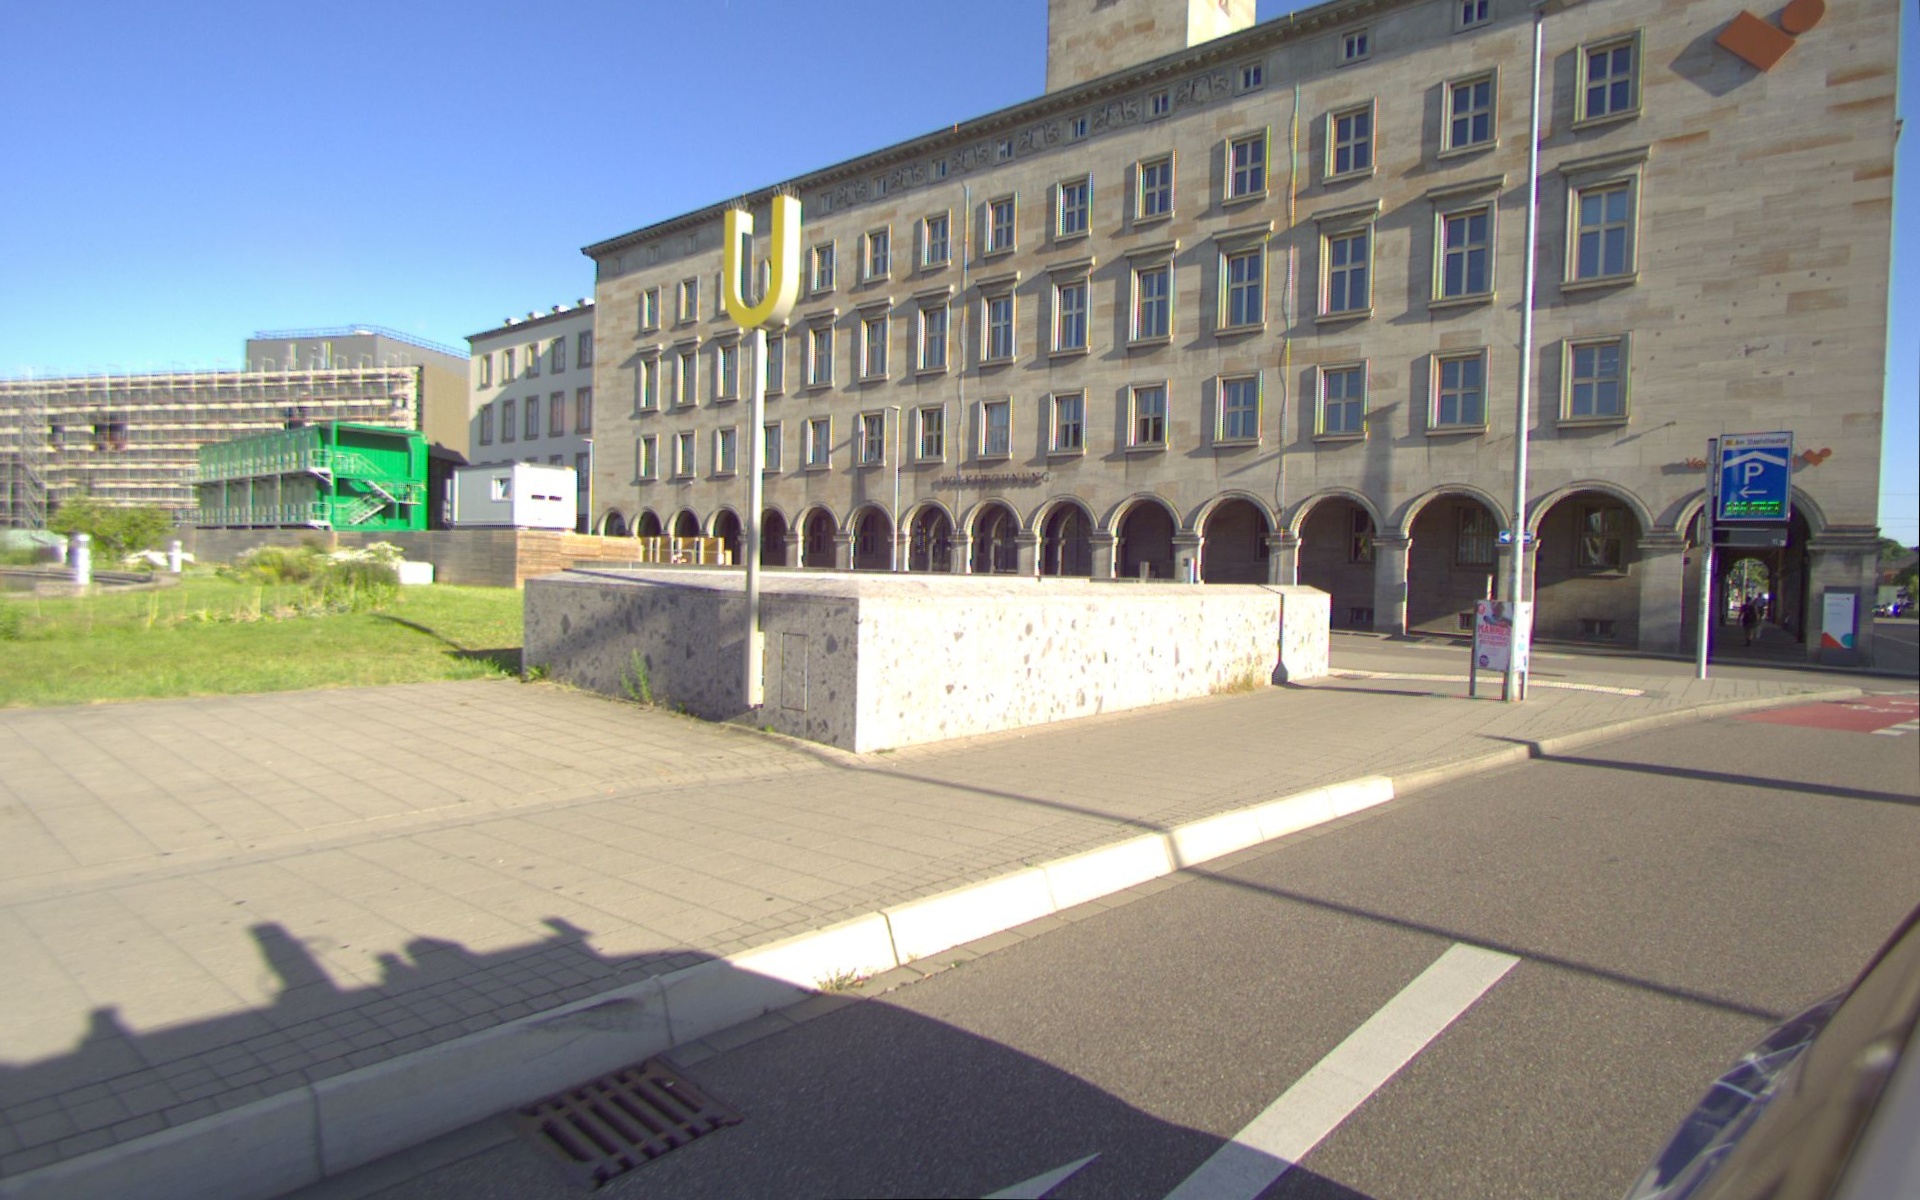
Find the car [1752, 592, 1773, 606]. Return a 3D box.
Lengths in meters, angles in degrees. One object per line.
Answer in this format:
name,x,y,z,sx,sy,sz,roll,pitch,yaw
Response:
car,102.406,-0.149,129.177,1.991,1.593,4.485,3,2,39

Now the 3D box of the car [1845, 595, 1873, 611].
car,96.921,0.333,109.142,1.991,1.593,4.485,3,2,39

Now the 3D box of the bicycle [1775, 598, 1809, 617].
bicycle,57.348,0.492,69.763,0.650,1.147,1.717,2,3,-11

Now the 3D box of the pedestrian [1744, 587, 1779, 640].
pedestrian,25.132,0.406,31.753,0.774,1.589,0.940,3,1,37
